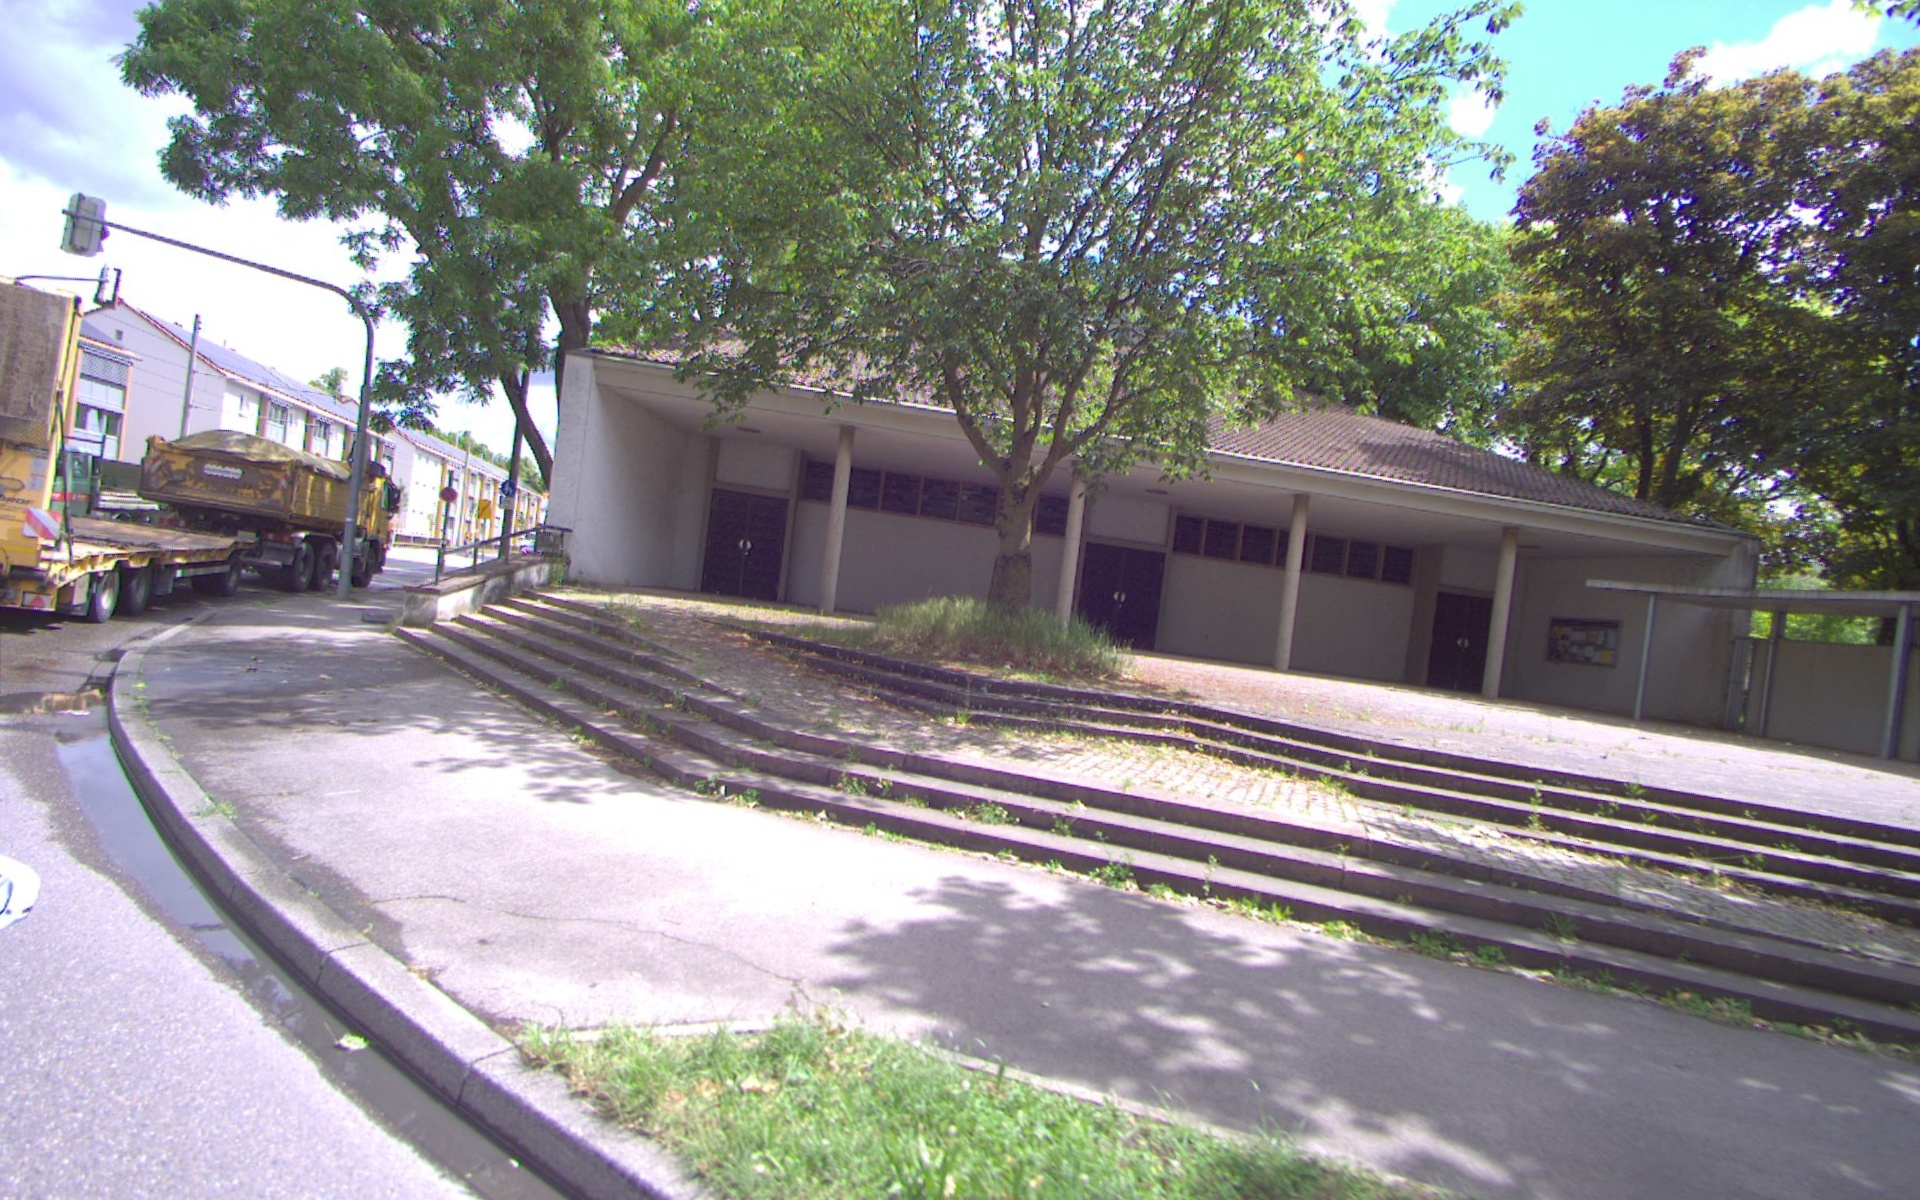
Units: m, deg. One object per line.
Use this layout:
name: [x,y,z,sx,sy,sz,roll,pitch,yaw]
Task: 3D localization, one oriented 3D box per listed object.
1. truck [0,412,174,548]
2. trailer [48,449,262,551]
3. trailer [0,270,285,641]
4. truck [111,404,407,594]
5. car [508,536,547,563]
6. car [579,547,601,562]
truck: [-22.377,-2.900,24.458,2.632,2.757,6.372,9,0,-16]
trailer: [-24.064,-2.859,30.521,2.632,2.240,6.225,9,0,-16]
trailer: [-12.592,-1.857,14.521,2.800,3.565,10.978,9,-1,-26]
truck: [-15.692,-2.066,23.388,2.884,3.204,7.653,9,0,-15]
car: [-31.822,-3.706,74.132,1.820,1.638,4.229,7,0,-15]
car: [-43.784,-5.373,119.122,1.855,1.500,4.515,6,1,-13]
